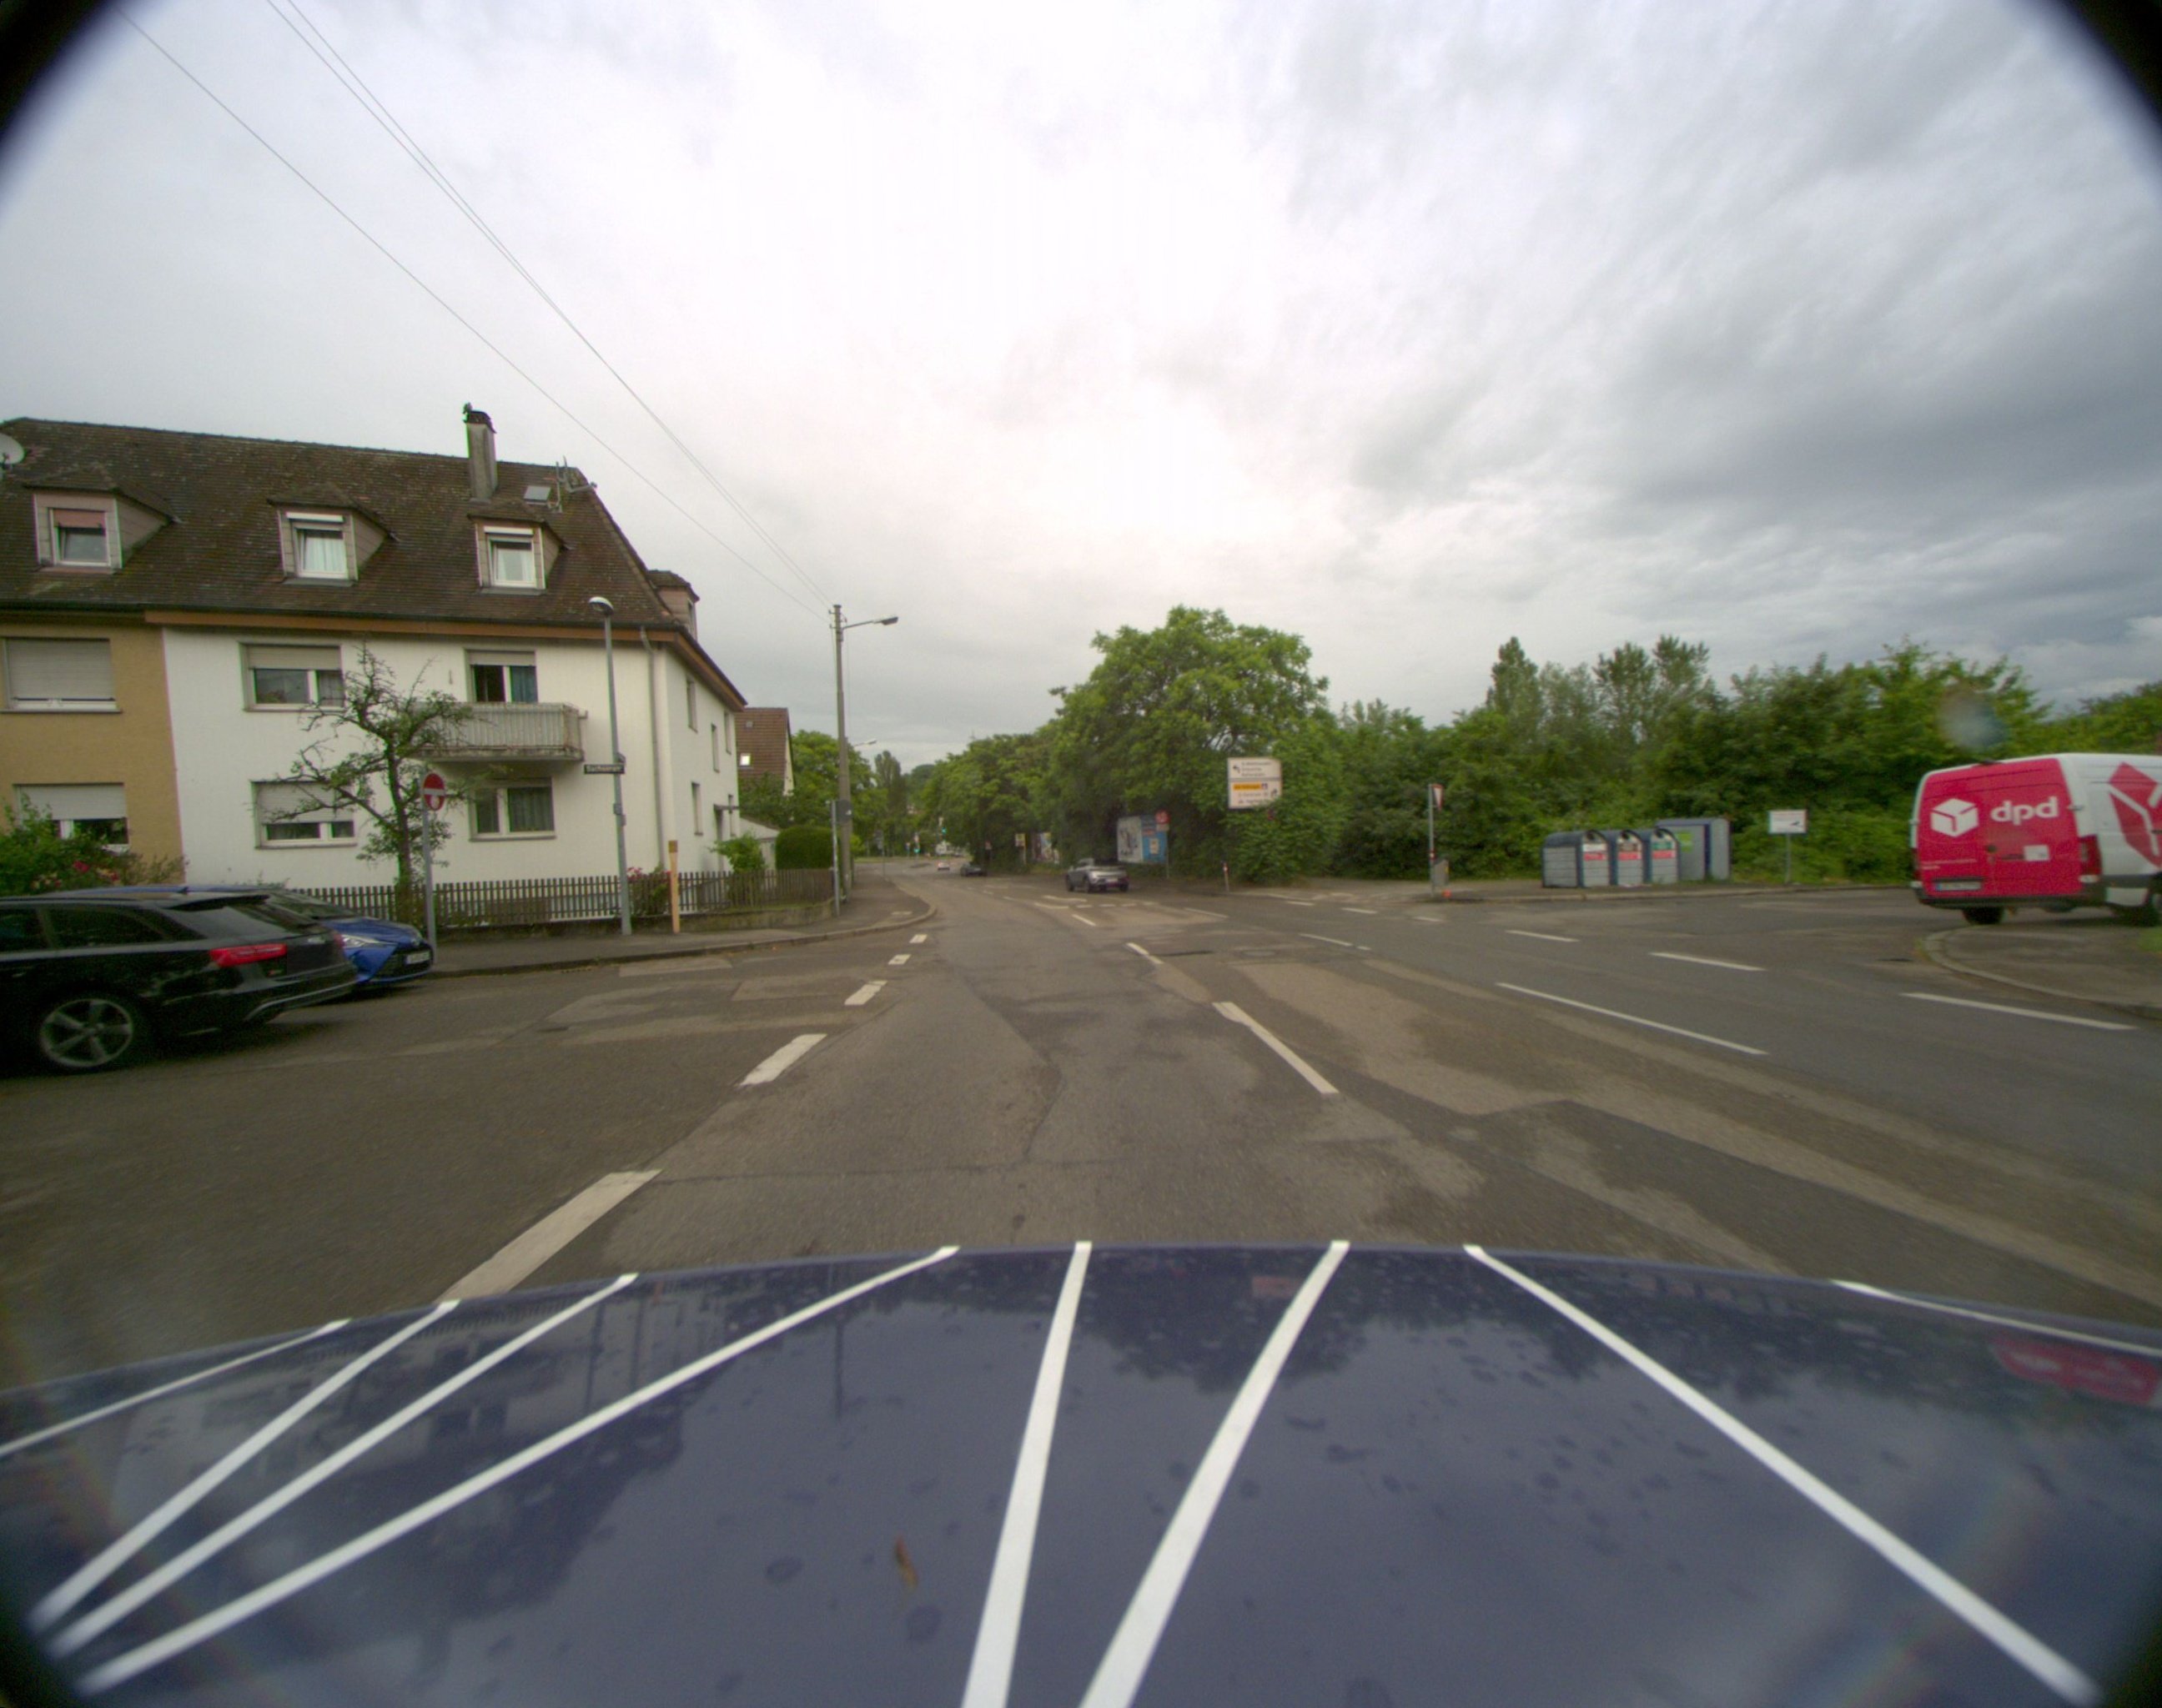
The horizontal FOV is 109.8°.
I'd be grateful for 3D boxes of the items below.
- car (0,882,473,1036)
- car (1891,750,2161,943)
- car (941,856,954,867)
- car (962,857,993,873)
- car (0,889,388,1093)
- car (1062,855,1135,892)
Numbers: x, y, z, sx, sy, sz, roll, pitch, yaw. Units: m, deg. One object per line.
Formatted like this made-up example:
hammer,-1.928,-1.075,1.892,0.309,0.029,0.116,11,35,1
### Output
car,-10.435,1.181,9.373,4.128,1.472,1.883,-2,0,-14
car,17.054,-0.250,12.476,6.827,2.640,2.260,-3,1,-16
car,-18.762,1.079,106.569,1.674,1.459,3.776,-2,0,-12
car,-9.505,1.004,69.207,2.001,1.434,4.768,-1,-1,-18
car,-9.529,1.168,6.575,4.822,1.471,1.883,-2,0,-21
car,0.689,0.806,32.834,1.902,1.453,3.994,-2,0,-18
